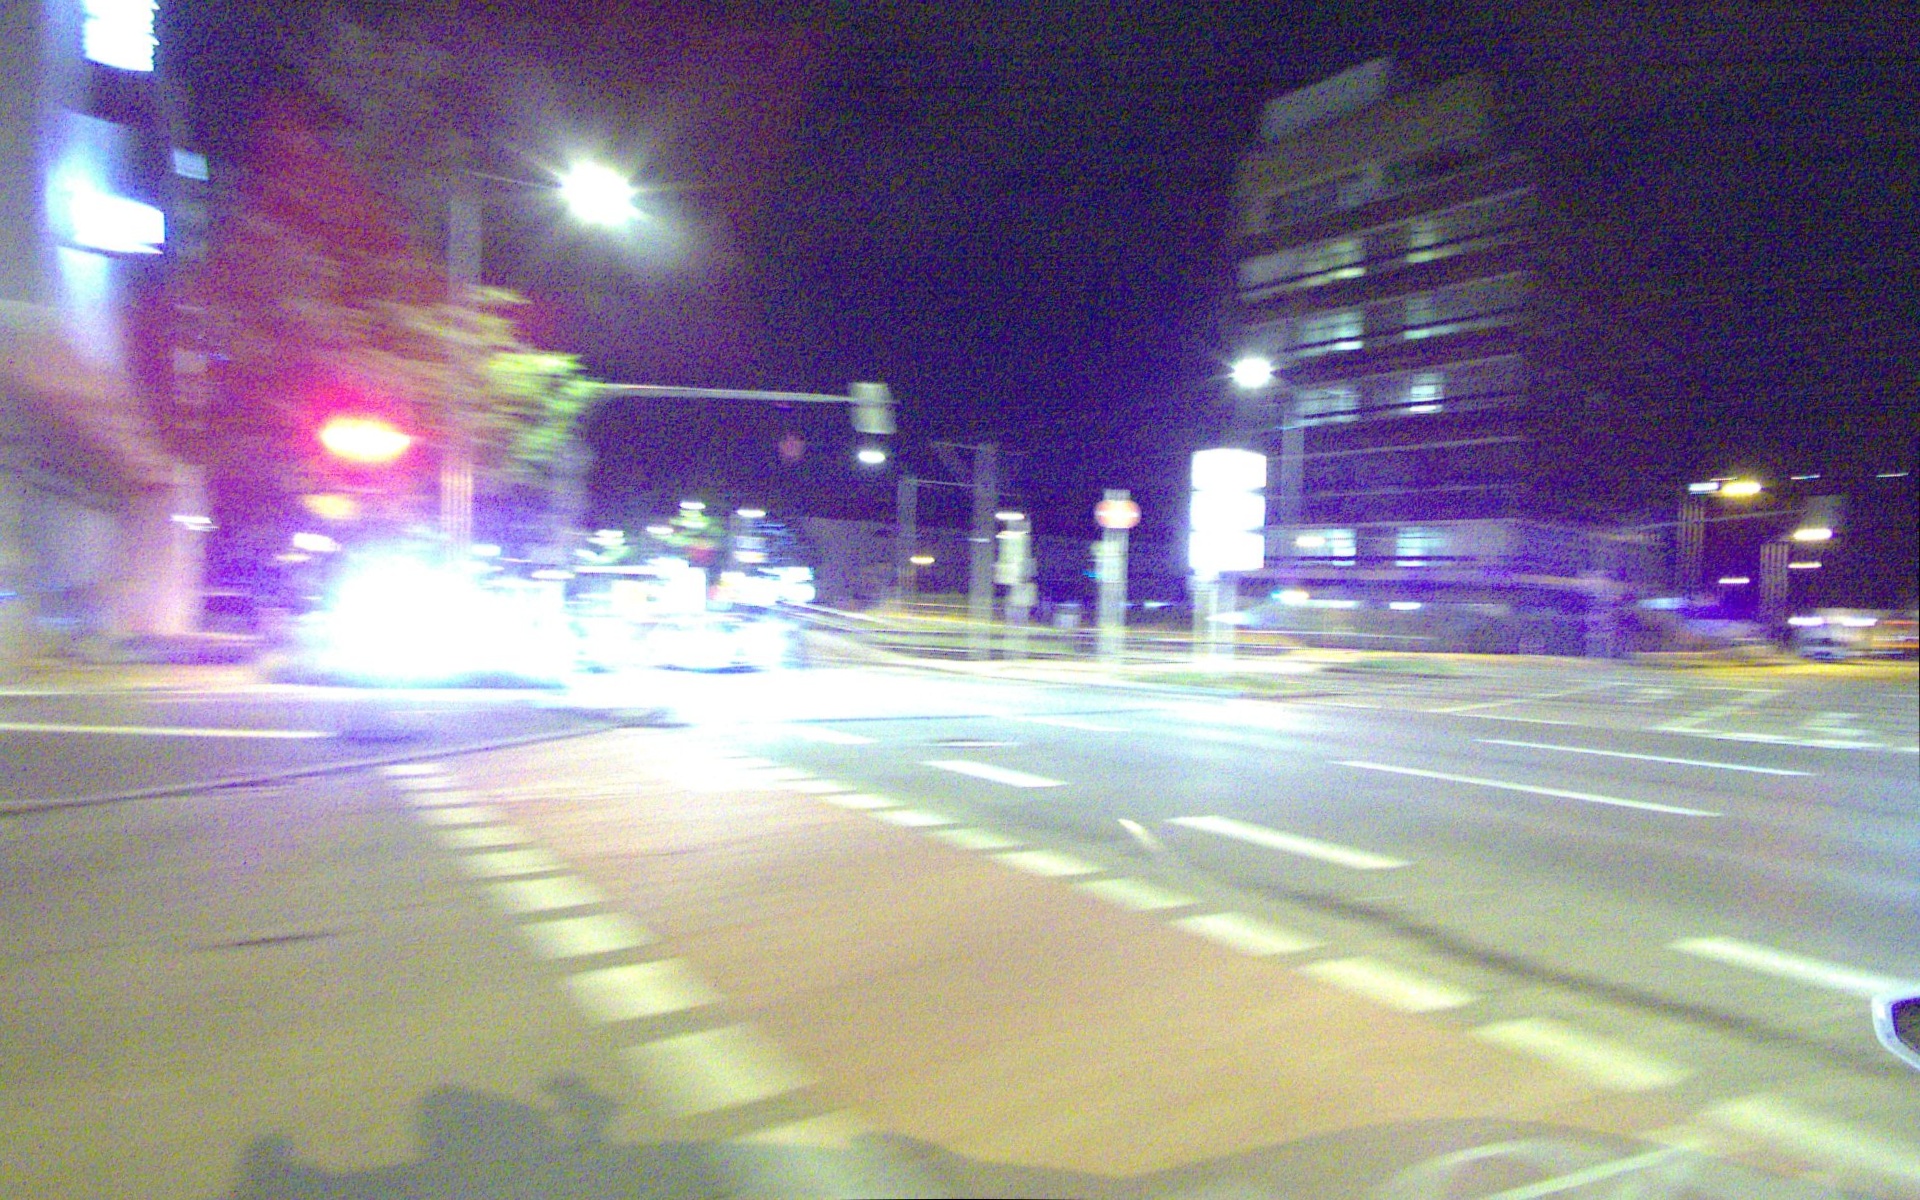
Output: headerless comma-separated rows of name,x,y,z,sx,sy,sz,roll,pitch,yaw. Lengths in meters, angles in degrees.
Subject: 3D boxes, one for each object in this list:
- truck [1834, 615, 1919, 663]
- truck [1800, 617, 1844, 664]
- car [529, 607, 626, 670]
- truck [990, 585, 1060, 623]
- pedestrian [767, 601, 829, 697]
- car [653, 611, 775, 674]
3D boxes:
truck,96.662,4.022,105.474,4.752,4.607,12.643,2,0,29
truck,72.720,3.370,84.801,2.552,3.756,5.711,2,0,39
car,-10.516,1.024,27.453,1.885,1.591,3.968,2,-2,-30
truck,5.629,0.319,87.893,2.889,3.129,5.848,2,0,-39
pedestrian,-2.921,0.866,18.110,0.662,1.656,0.857,1,0,44
car,-6.727,1.066,27.147,1.801,1.523,4.158,-1,0,-36
